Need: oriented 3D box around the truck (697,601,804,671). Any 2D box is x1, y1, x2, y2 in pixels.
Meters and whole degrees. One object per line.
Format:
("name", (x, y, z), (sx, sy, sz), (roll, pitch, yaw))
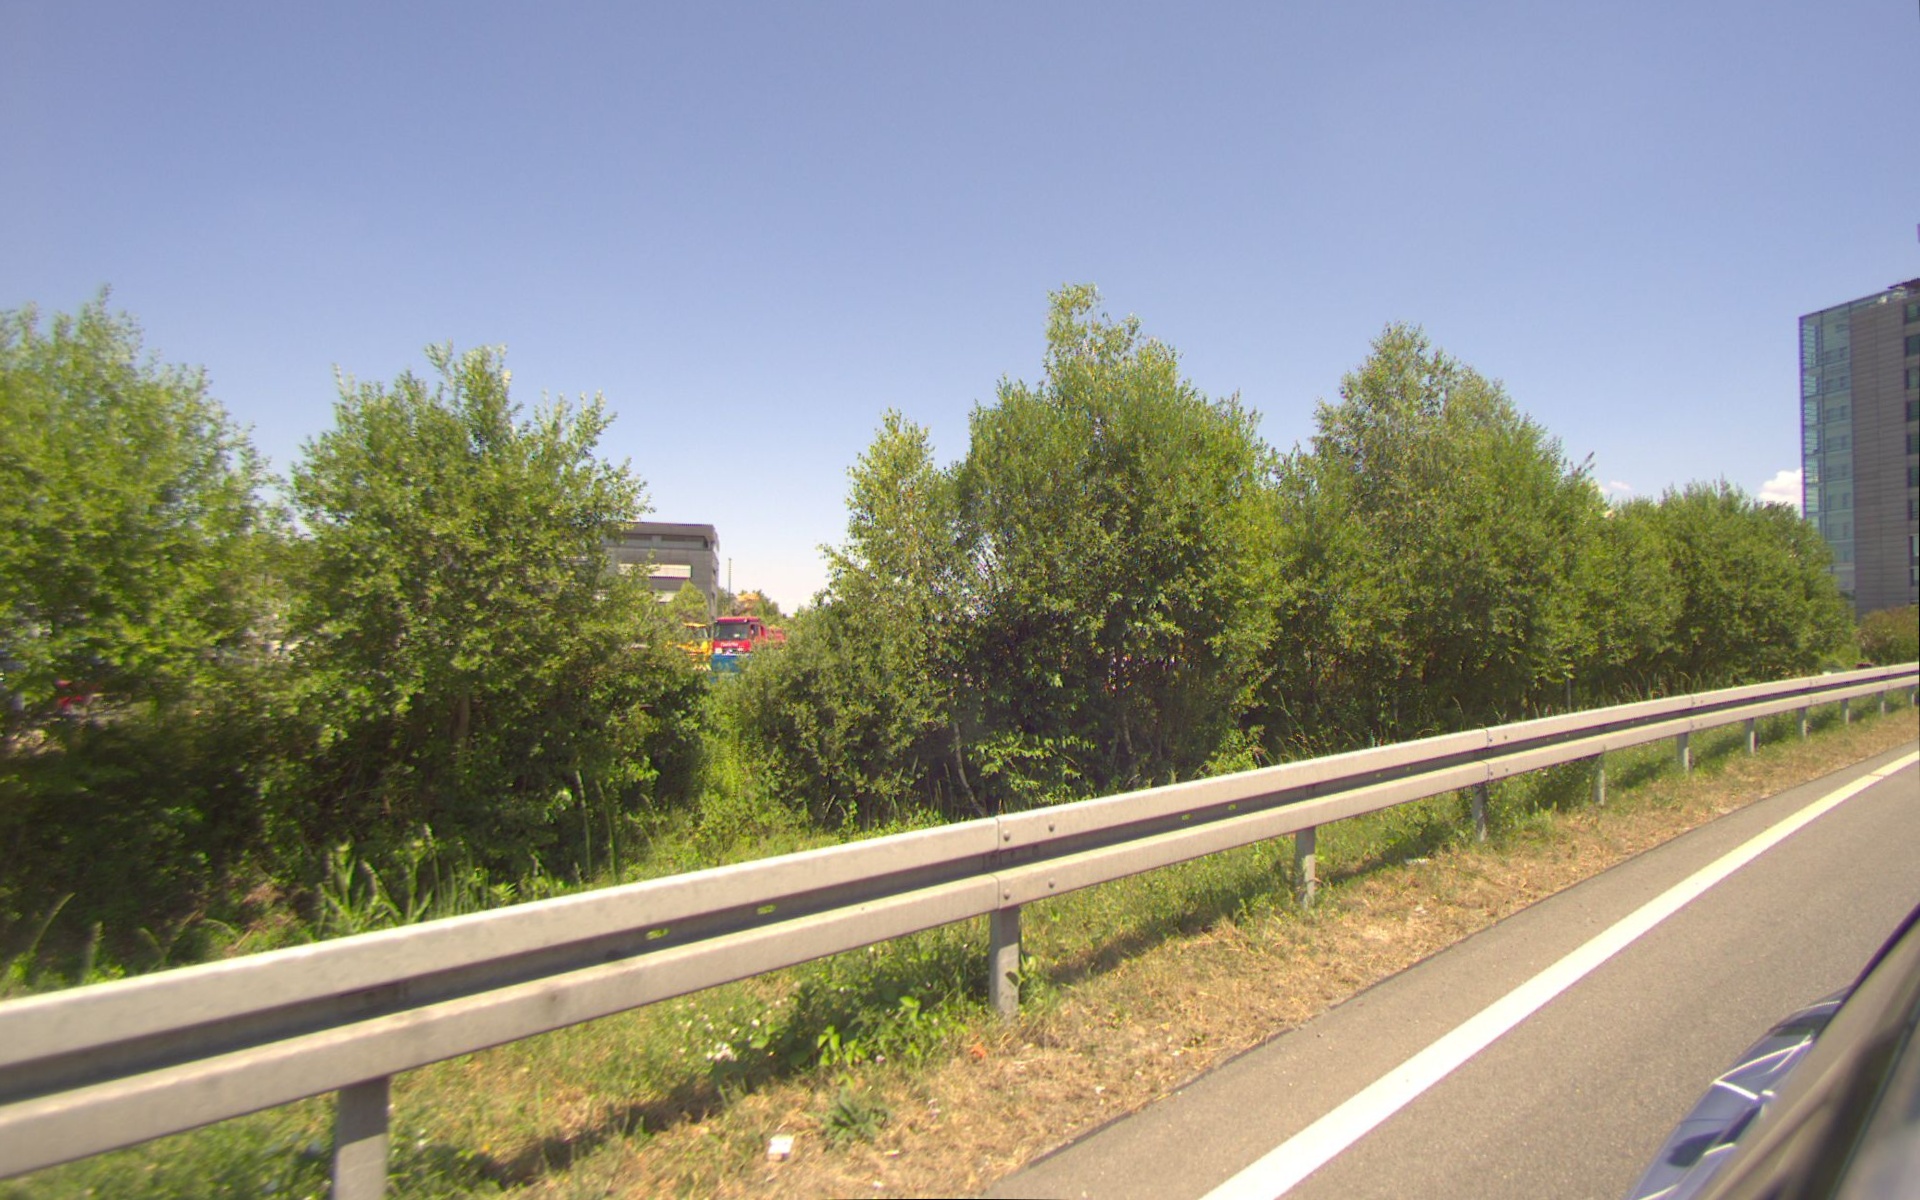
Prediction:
("truck", (-12.143, 2.193, 59.908), (3.079, 3.733, 9.390), (1, -3, 9))
